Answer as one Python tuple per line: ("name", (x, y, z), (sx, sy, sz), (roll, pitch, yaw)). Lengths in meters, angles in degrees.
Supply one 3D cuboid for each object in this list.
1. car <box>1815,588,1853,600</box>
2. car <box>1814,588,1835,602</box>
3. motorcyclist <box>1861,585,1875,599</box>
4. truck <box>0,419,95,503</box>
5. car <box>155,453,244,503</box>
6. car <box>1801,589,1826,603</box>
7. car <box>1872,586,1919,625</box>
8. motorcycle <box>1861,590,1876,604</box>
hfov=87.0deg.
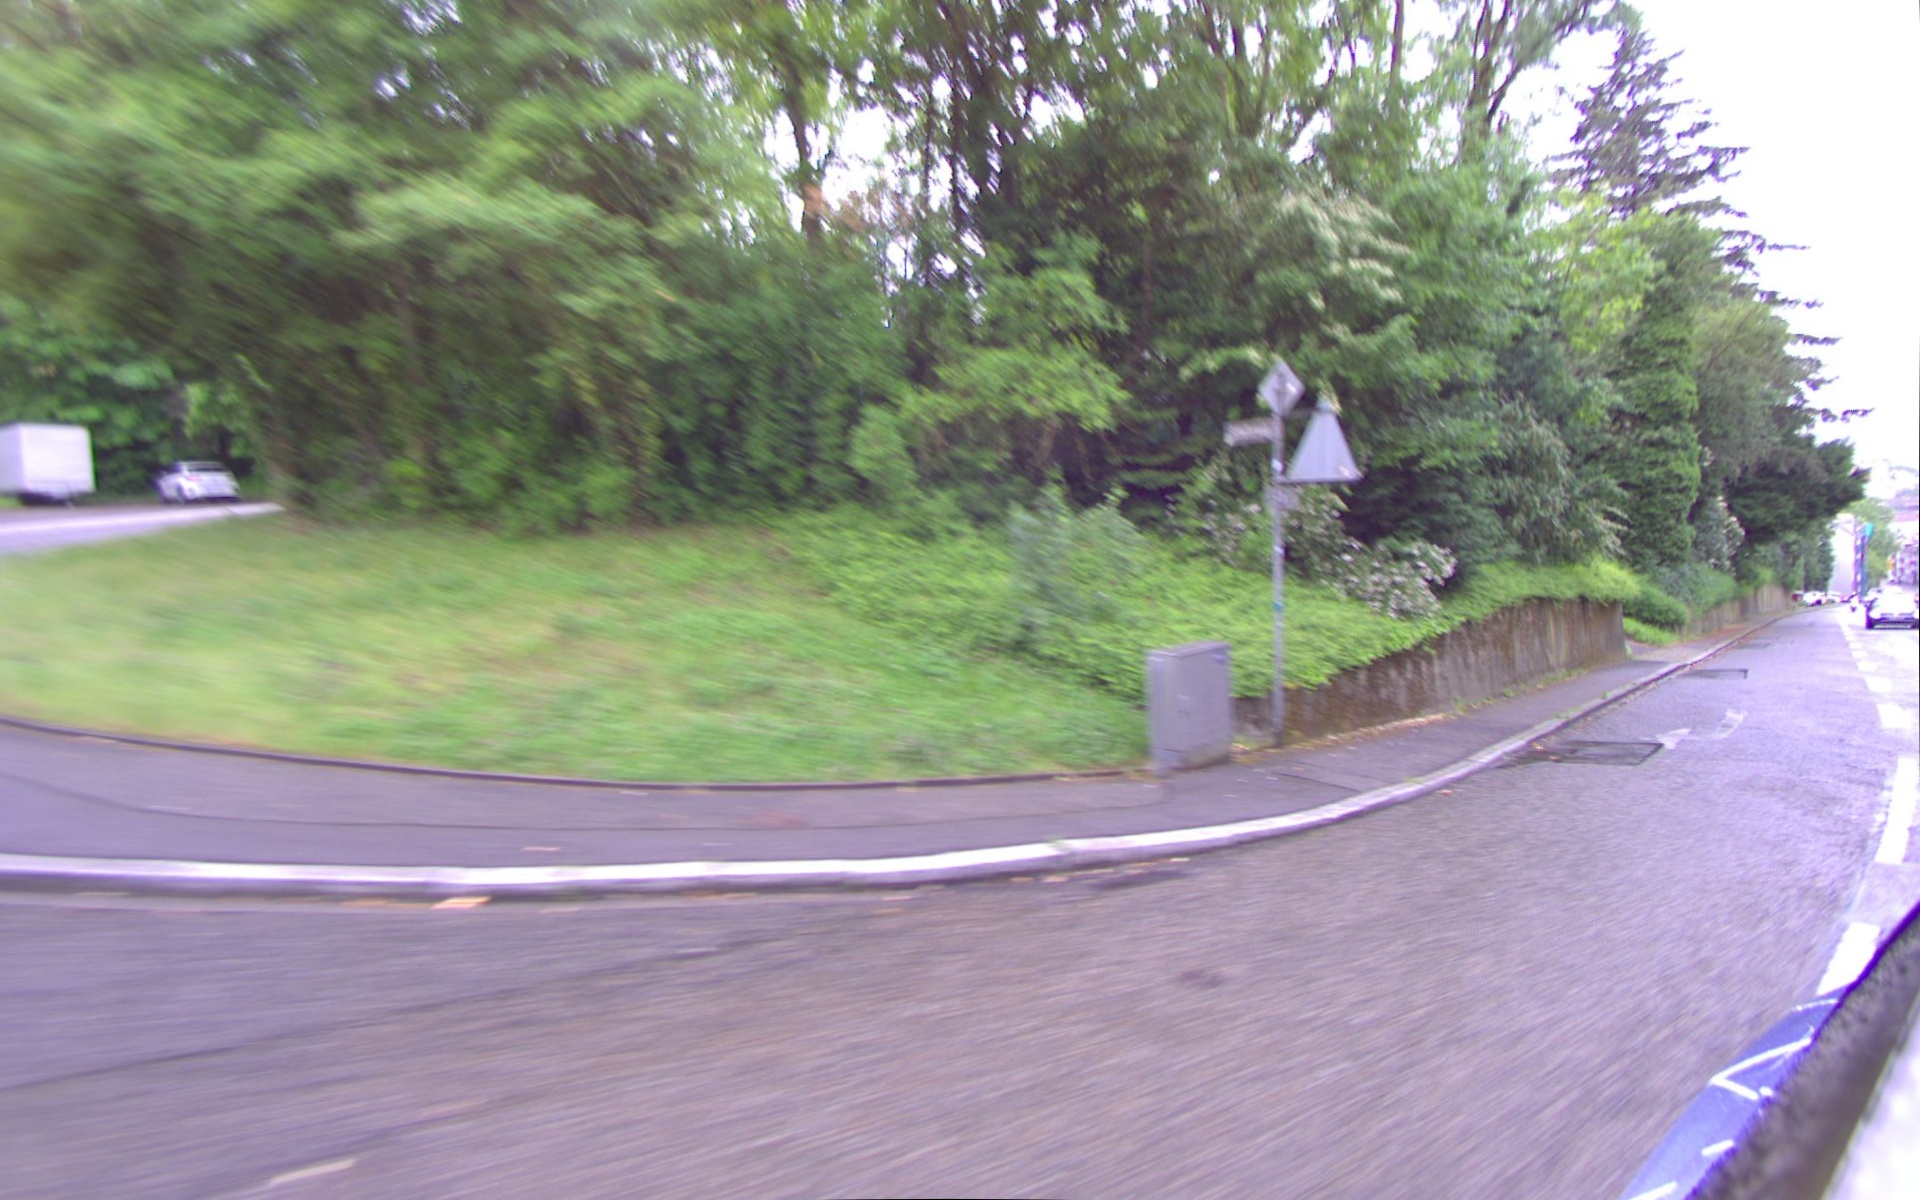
("car", (131.527, -0.944, 152.317), (4.186, 1.593, 1.774), (5, 3, 45))
("car", (102.634, -0.596, 120.107), (1.764, 1.644, 4.607), (1, 1, 43))
("motorcyclist", (75.681, -0.679, 84.322), (0.540, 1.141, 0.777), (0, -2, -43))
("truck", (-33.029, -4.871, 35.967), (5.537, 2.727, 1.937), (4, 6, 34))
("car", (-28.395, -4.504, 37.774), (3.602, 1.641, 1.821), (4, 3, 38))
("car", (95.008, -0.470, 112.679), (1.740, 1.496, 4.663), (3, 2, 45))
("car", (40.816, 0.216, 43.729), (1.993, 1.633, 3.905), (0, 0, 43))
("motorcycle", (75.741, -0.270, 84.362), (2.261, 1.141, 0.777), (-1, -1, -44))
